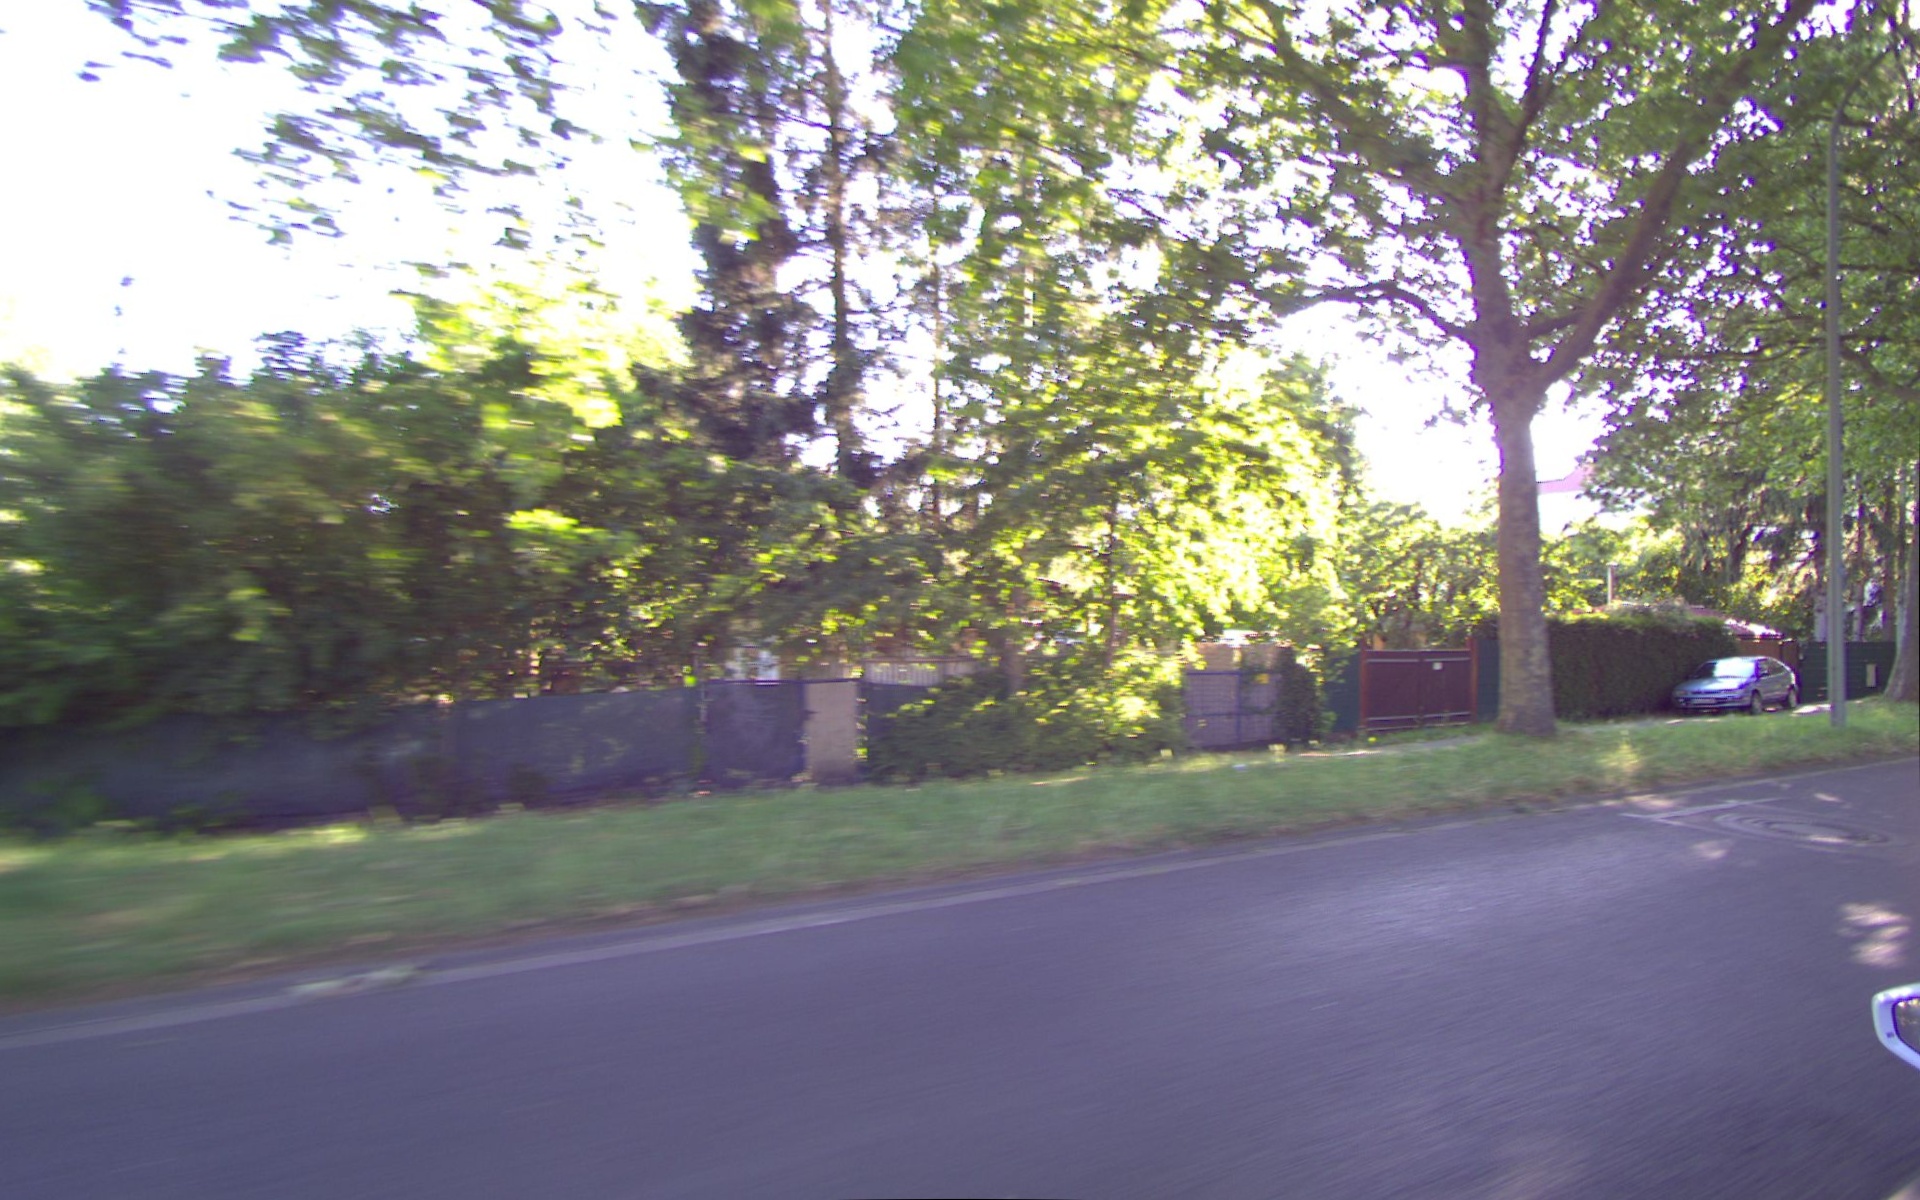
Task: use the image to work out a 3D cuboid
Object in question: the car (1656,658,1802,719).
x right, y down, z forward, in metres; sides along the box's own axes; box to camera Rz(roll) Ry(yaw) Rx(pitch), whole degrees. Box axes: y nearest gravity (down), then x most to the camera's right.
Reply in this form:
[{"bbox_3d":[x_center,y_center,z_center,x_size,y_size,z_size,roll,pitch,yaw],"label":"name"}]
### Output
[{"bbox_3d":[19.794,2.216,25.824,3.957,1.321,1.742,1,-2,-33],"label":"car"}]
